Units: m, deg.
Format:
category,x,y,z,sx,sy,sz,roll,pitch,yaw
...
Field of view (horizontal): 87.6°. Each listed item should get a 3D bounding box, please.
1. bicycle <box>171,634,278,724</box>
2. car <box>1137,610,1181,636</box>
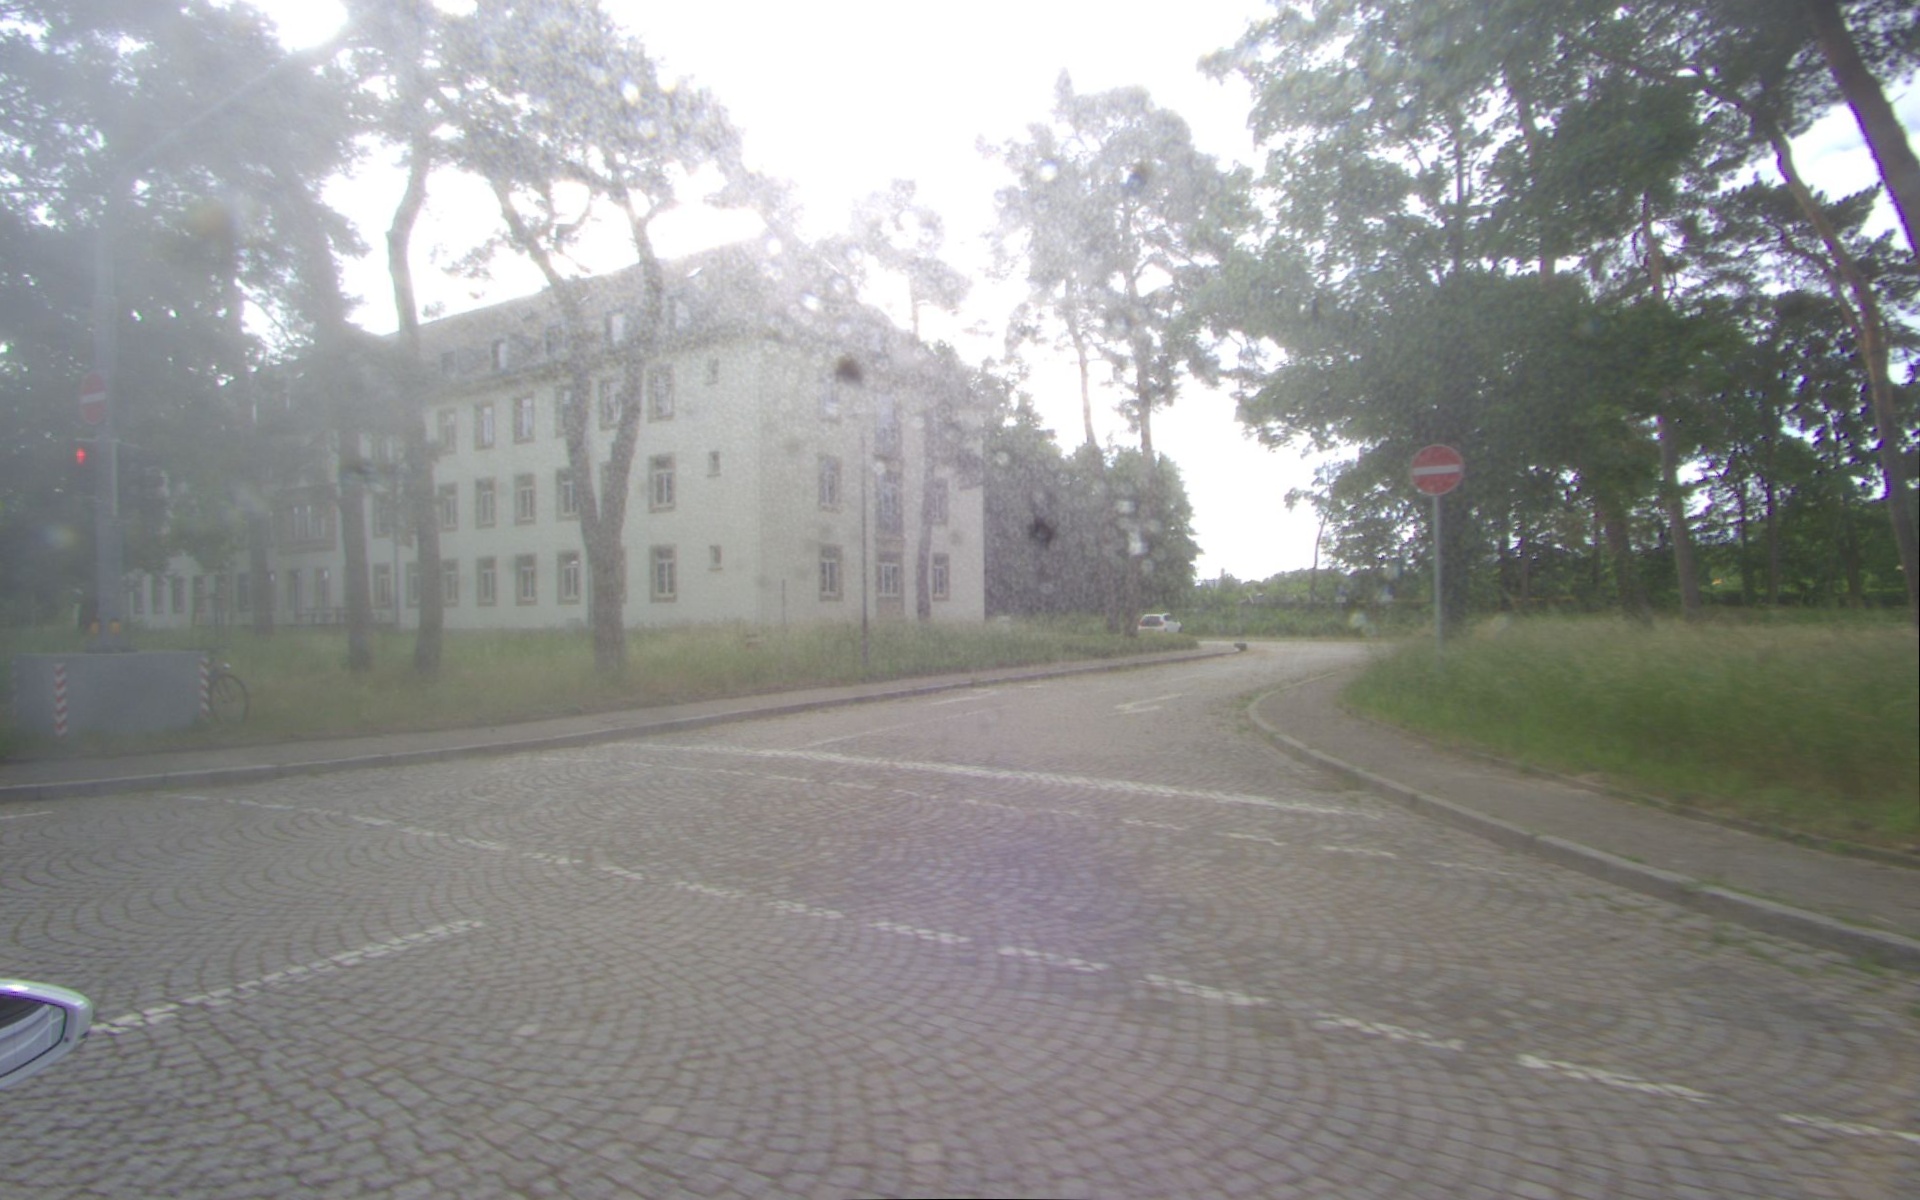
category,x,y,z,sx,sy,sz,roll,pitch,yaw
bicycle,-9.253,0.959,12.579,1.655,0.983,0.578,1,3,36
car,11.606,1.360,58.194,1.467,1.455,3.179,-1,-2,32
